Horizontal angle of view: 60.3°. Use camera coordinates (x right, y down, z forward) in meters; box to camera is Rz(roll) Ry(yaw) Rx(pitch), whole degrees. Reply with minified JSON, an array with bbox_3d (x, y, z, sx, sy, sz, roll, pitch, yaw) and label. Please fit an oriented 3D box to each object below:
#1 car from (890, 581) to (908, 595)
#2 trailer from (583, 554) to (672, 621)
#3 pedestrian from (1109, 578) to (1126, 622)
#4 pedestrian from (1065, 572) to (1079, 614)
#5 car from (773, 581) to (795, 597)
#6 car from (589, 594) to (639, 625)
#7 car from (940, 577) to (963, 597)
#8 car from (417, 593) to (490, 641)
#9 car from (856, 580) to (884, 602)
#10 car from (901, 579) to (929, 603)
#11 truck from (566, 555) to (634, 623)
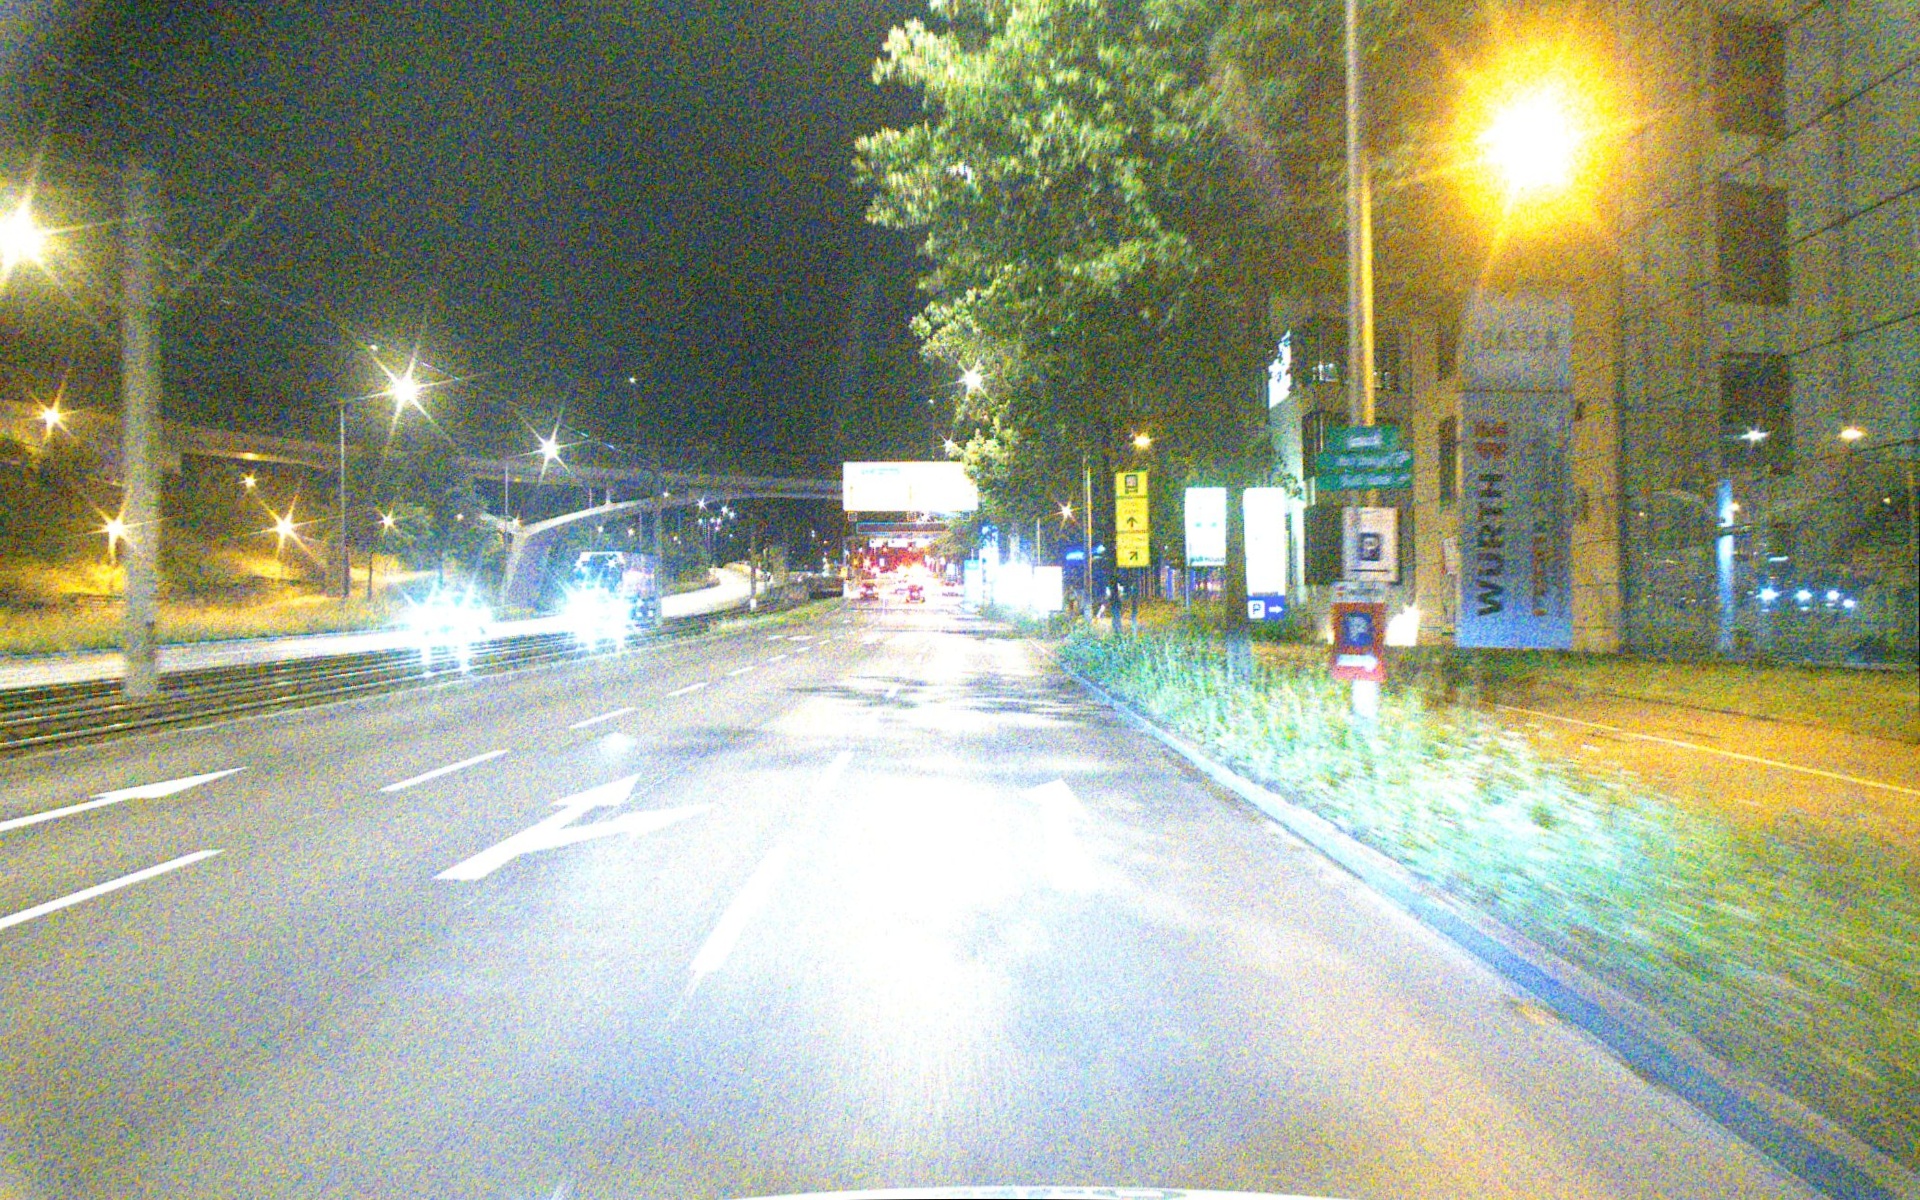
[{"bbox_3d":[-7.018,-1.339,191.324,1.953,1.580,3.999,0,0,-1],"label":"car"},{"bbox_3d":[-21.213,-0.872,106.455,2.933,4.070,13.954,0,1,0],"label":"trailer"},{"bbox_3d":[7.565,0.001,79.578,0.746,2.099,0.643,0,1,-1],"label":"pedestrian"},{"bbox_3d":[6.649,-0.417,98.161,0.729,2.477,0.780,1,0,2],"label":"pedestrian"},{"bbox_3d":[-19.421,-1.260,182.582,1.953,1.733,4.000,0,1,-1],"label":"car"},{"bbox_3d":[-17.973,0.466,86.082,1.872,1.499,3.771,0,1,-1],"label":"car"},{"bbox_3d":[-0.952,-1.512,187.050,2.377,2.150,4.828,0,1,2],"label":"car"},{"bbox_3d":[-19.993,0.644,65.399,1.825,1.780,3.700,0,1,-1],"label":"car"},{"bbox_3d":[-8.585,-0.880,158.769,2.215,2.049,4.828,0,1,2],"label":"car"},{"bbox_3d":[-4.161,-0.820,153.686,2.307,2.166,4.828,0,1,2],"label":"car"},{"bbox_3d":[-21.168,-0.688,97.493,2.979,3.886,4.935,0,1,-1],"label":"truck"}]
